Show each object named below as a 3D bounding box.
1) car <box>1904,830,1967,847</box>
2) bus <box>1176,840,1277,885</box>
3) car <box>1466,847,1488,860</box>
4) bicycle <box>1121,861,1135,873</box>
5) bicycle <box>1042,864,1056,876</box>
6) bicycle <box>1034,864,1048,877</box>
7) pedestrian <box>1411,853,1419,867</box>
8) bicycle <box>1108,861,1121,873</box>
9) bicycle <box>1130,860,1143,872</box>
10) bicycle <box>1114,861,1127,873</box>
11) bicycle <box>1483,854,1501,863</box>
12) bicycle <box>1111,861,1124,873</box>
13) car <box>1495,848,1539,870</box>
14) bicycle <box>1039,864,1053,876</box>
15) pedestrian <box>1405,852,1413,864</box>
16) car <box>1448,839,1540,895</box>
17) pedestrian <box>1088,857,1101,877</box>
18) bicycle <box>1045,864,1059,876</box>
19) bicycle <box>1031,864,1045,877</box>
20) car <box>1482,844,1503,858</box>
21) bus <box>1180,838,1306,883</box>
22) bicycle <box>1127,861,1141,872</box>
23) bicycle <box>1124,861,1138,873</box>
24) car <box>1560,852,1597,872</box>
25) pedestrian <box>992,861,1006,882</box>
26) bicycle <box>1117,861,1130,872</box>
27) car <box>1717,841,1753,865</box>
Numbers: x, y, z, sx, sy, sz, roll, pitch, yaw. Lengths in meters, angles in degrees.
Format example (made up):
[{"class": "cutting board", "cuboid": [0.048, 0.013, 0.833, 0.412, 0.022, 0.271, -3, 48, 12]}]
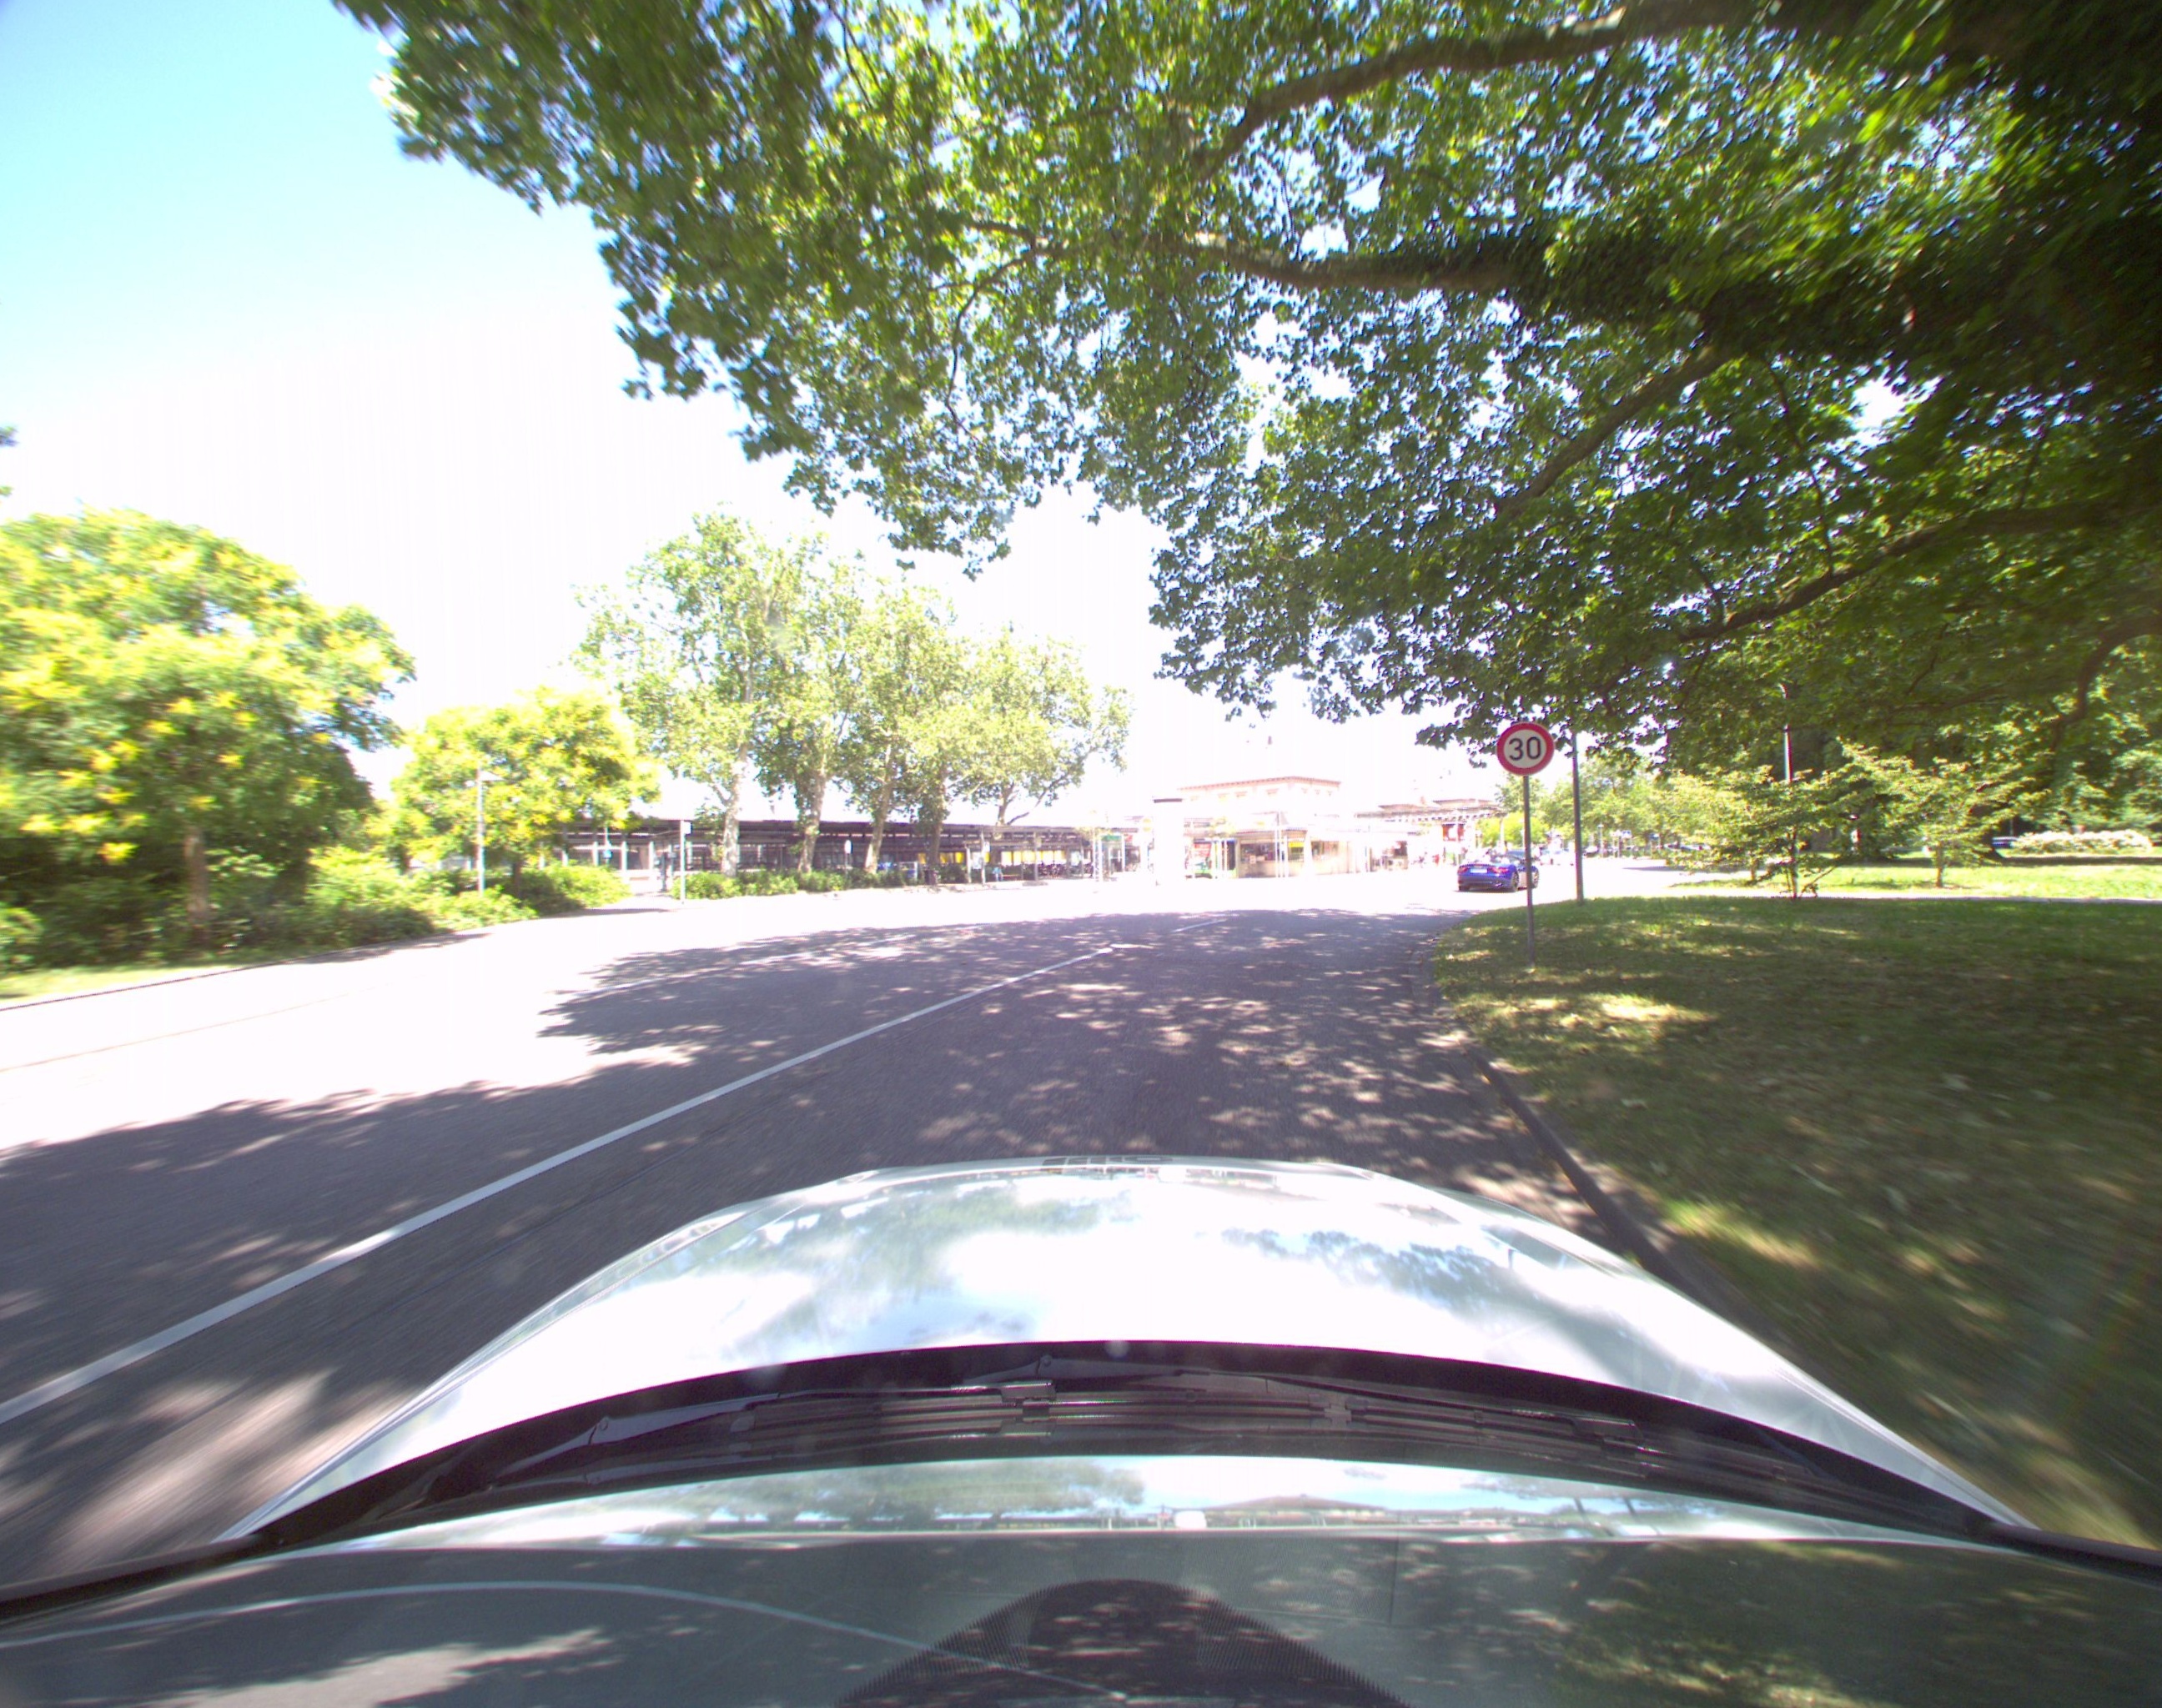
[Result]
[{"class": "car", "cuboid": [84.257, -1.530, 80.398, 4.065, 1.466, 2.013, -2, -1, 41]}, {"class": "bus", "cuboid": [12.700, 0.623, 69.799, 2.142, 3.526, 12.297, -2, -1, 43]}, {"class": "car", "cuboid": [60.578, -0.076, 124.628, 1.734, 1.917, 4.805, -3, 0, 42]}, {"class": "bicycle", "cuboid": [4.463, 1.231, 78.046, 1.388, 1.100, 0.369, -2, -1, 44]}, {"class": "bicycle", "cuboid": [-2.861, 1.445, 72.629, 1.368, 1.094, 0.388, -3, -3, 44]}, {"class": "bicycle", "cuboid": [-3.618, 1.501, 73.946, 1.368, 1.094, 0.388, -3, -3, 44]}, {"class": "pedestrian", "cuboid": [41.139, 0.717, 100.344, 0.653, 1.673, 0.630, 0, -2, -3]}, {"class": "bicycle", "cuboid": [3.254, 1.283, 79.264, 1.368, 1.094, 0.388, -2, -1, 44]}, {"class": "bicycle", "cuboid": [5.391, 1.197, 79.049, 1.368, 1.094, 0.388, -2, -1, 44]}, {"class": "bicycle", "cuboid": [3.873, 1.257, 79.895, 1.368, 1.094, 0.388, -3, -1, 44]}, {"class": "bicycle", "cuboid": [47.457, 0.502, 94.075, 1.778, 1.030, 0.491, -1, -1, 19]}, {"class": "bicycle", "cuboid": [3.572, 1.273, 79.593, 1.368, 1.094, 0.388, -2, -1, 44]}, {"class": "car", "cuboid": [31.650, 0.336, 59.082, 1.702, 1.478, 4.815, -3, -1, 41]}, {"class": "bicycle", "cuboid": [-3.126, 1.437, 72.314, 1.368, 1.094, 0.388, -3, -3, 44]}, {"class": "pedestrian", "cuboid": [27.065, 0.363, 67.227, 0.373, 0.972, 0.421, 1, -3, -34]}, {"class": "car", "cuboid": [14.970, 0.437, 29.393, 2.104, 1.848, 4.073, -1, -1, 39]}, {"class": "pedestrian", "cuboid": [1.086, 1.031, 65.554, 0.812, 1.617, 0.773, -2, -1, 23]}, {"class": "bicycle", "cuboid": [-2.566, 1.453, 72.925, 1.368, 1.094, 0.388, -3, -3, 44]}, {"class": "bicycle", "cuboid": [-3.898, 1.493, 73.617, 1.368, 1.094, 0.388, -3, -3, 44]}, {"class": "car", "cuboid": [65.613, -0.505, 129.868, 1.974, 2.013, 4.026, -2, 1, 40]}, {"class": "bus", "cuboid": [12.499, 0.422, 61.031, 2.649, 3.041, 13.978, -3, -1, 41]}, {"class": "bicycle", "cuboid": [5.099, 1.211, 78.735, 1.368, 1.094, 0.388, -2, -1, 44]}, {"class": "bicycle", "cuboid": [4.797, 1.229, 78.412, 1.368, 1.094, 0.388, -2, -1, 44]}, {"class": "car", "cuboid": [42.867, 0.688, 70.096, 1.797, 1.444, 4.184, -7, -3, 43]}, {"class": "pedestrian", "cuboid": [-5.863, 1.233, 58.274, 0.599, 1.464, 0.827, -3, -1, 39]}, {"class": "bicycle", "cuboid": [4.178, 1.253, 80.216, 1.368, 1.094, 0.388, -3, -1, 44]}, {"class": "car", "cuboid": [42.469, -0.049, 52.949, 1.702, 1.478, 3.729, -3, -1, 38]}]
